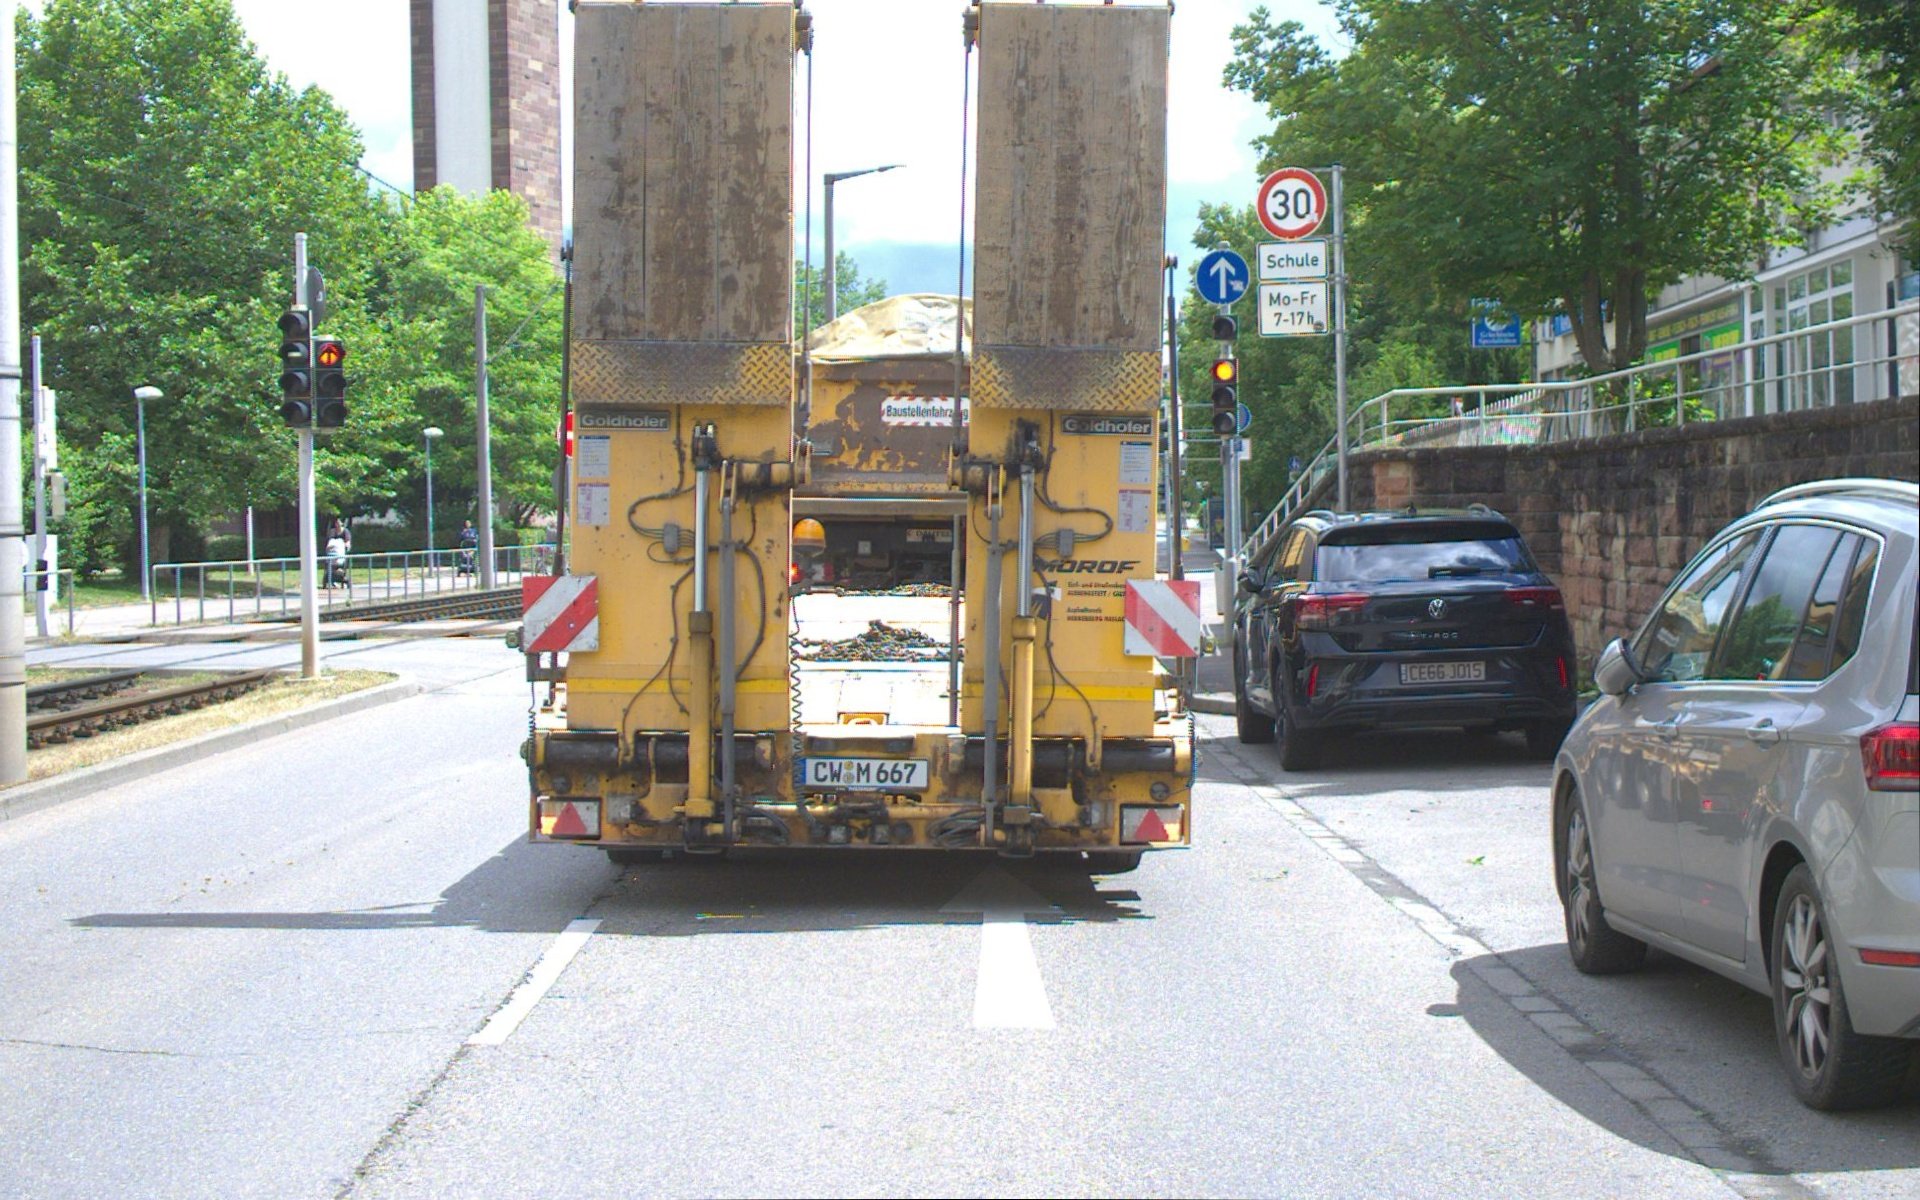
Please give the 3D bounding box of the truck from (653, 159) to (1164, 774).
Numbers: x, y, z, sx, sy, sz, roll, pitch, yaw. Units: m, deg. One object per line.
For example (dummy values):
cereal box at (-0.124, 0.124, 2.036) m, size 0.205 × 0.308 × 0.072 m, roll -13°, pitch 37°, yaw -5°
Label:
truck at (-0.292, -0.840, 22.558) m, size 2.942 × 3.560 × 4.877 m, roll -1°, pitch 1°, yaw 0°

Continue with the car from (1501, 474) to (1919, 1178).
car at (2.865, 0.444, 10.026) m, size 1.790 × 1.612 × 4.249 m, roll -2°, pitch 1°, yaw -1°

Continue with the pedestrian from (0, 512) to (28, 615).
pedestrian at (-14.723, -0.567, 53.171) m, size 0.438 × 1.575 × 0.474 m, roll -1°, pitch 1°, yaw 4°

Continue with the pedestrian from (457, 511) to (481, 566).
pedestrian at (-13.879, -1.739, 97.101) m, size 0.563 × 1.508 × 0.646 m, roll 1°, pitch 1°, yaw -1°

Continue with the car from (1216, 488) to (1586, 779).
car at (2.710, 0.150, 21.967) m, size 1.851 × 1.633 × 4.000 m, roll -2°, pitch 1°, yaw 1°

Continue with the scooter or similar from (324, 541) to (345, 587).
scooter or similar at (-14.568, -0.847, 80.064) m, size 0.338 × 1.054 × 0.687 m, roll 0°, pitch 1°, yaw 3°

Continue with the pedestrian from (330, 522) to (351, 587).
pedestrian at (-14.544, -1.069, 80.699) m, size 0.348 × 1.531 × 0.557 m, roll -1°, pitch 1°, yaw 4°

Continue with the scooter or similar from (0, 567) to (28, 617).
scooter or similar at (-14.598, -0.121, 52.701) m, size 0.438 × 0.745 × 0.474 m, roll -1°, pitch 1°, yaw 5°

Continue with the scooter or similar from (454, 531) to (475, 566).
scooter or similar at (-13.898, -1.459, 96.459) m, size 0.505 × 0.968 × 0.646 m, roll 1°, pitch 1°, yaw -1°

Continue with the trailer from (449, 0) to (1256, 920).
trailer at (-0.342, -0.730, 17.062) m, size 2.945 × 3.589 × 8.684 m, roll -1°, pitch 1°, yaw 1°
